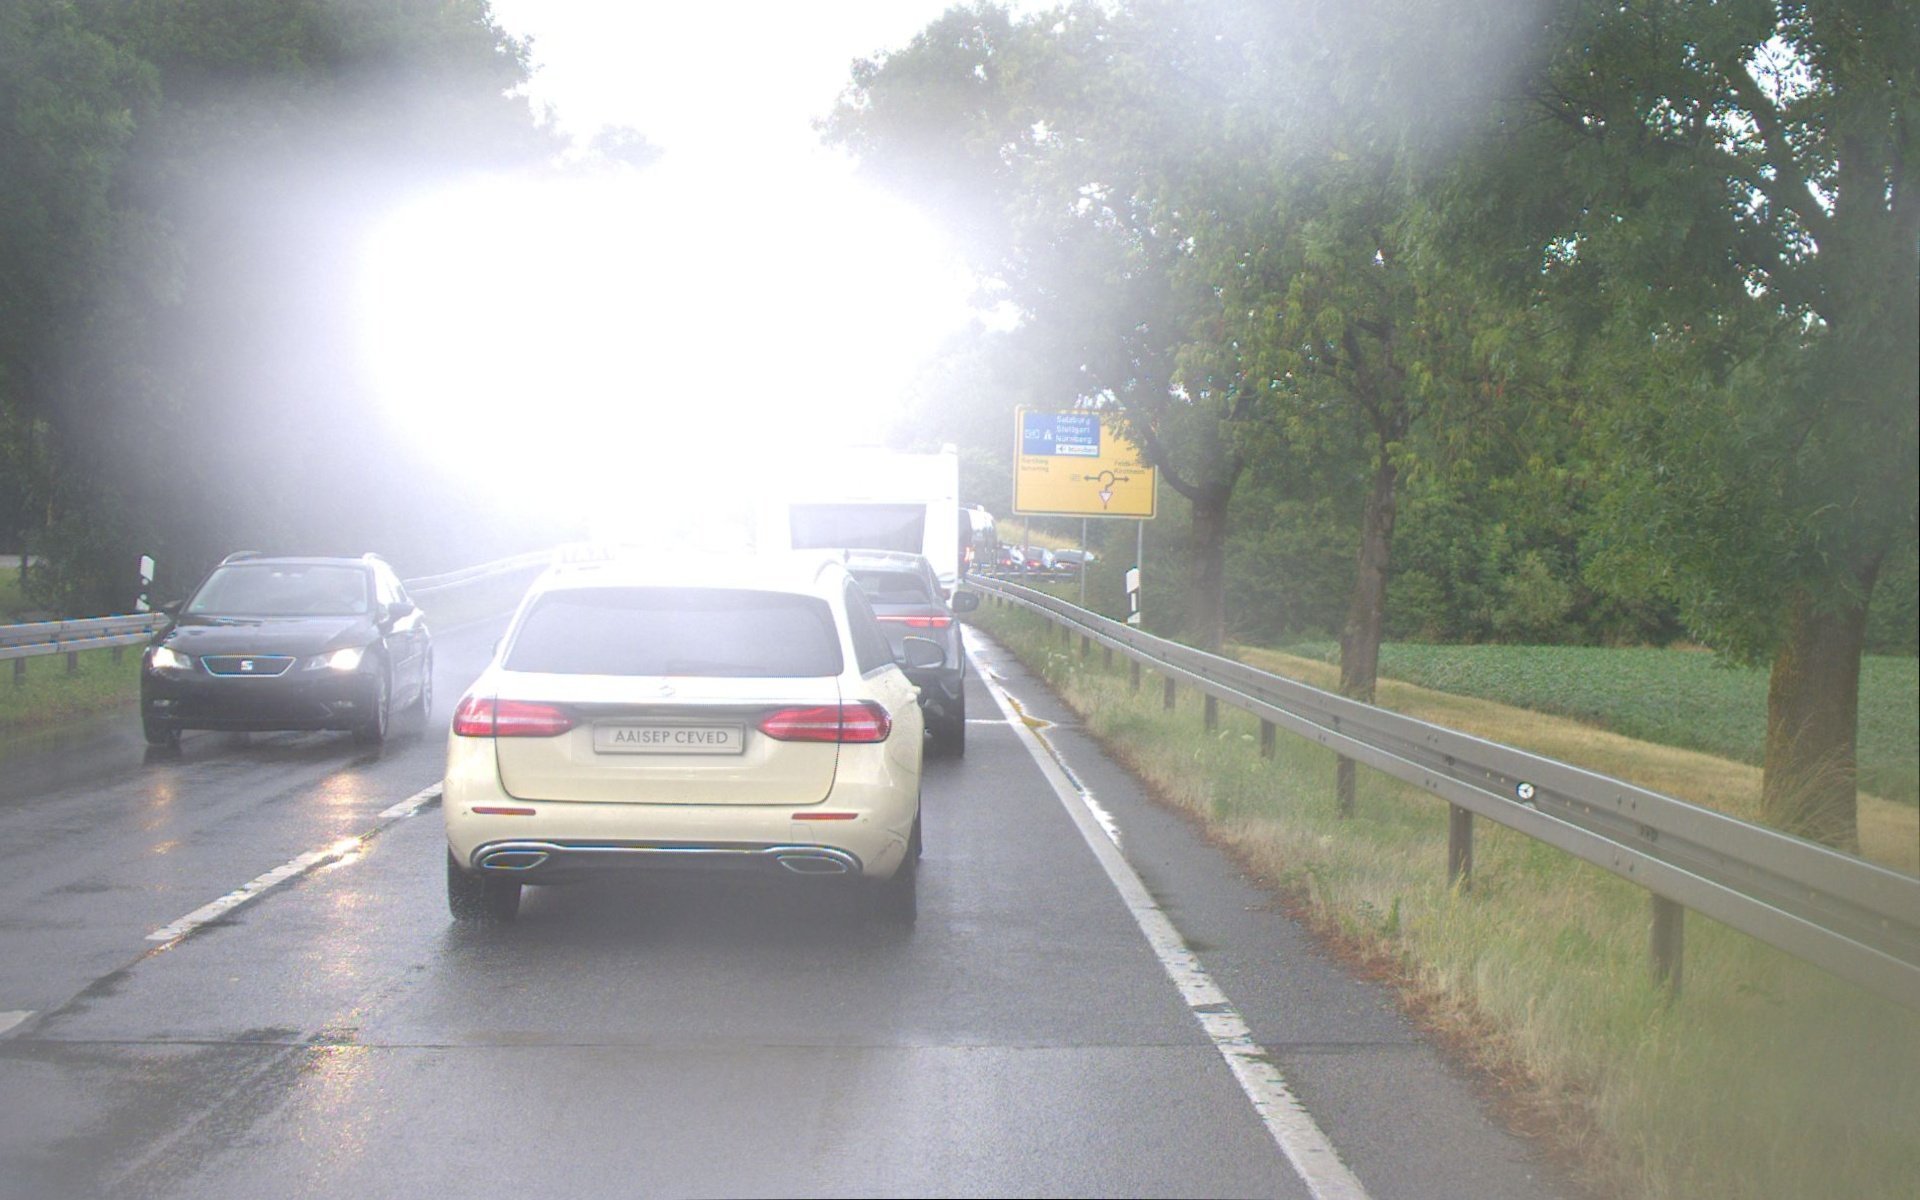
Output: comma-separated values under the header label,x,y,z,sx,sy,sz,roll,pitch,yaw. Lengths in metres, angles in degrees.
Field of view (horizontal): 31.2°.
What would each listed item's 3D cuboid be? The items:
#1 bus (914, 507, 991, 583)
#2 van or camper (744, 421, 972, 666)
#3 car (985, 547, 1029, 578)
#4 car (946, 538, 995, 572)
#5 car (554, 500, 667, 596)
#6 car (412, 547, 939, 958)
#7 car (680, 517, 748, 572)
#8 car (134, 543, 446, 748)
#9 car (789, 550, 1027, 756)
label,x,y,z,sx,sy,sz,roll,pitch,yaw
bus,-0.232,-1.490,92.915,1.993,2.007,4.000,0,1,-1
van or camper,-1.124,-0.677,40.985,2.489,2.676,5.700,1,1,0
car,1.703,-1.370,125.980,1.551,1.114,4.000,1,1,0
car,0.347,-1.529,116.541,1.551,1.114,4.000,1,1,-1
car,-6.732,-1.015,66.611,1.828,1.796,4.415,0,1,-1
car,-1.044,0.521,14.449,1.865,1.471,4.000,0,1,0
car,-6.692,-1.517,93.867,1.628,1.433,3.960,1,1,-1
car,-5.132,0.291,26.802,1.714,1.446,4.111,1,1,-1
car,-0.361,0.341,26.169,1.664,1.426,4.000,0,1,0
